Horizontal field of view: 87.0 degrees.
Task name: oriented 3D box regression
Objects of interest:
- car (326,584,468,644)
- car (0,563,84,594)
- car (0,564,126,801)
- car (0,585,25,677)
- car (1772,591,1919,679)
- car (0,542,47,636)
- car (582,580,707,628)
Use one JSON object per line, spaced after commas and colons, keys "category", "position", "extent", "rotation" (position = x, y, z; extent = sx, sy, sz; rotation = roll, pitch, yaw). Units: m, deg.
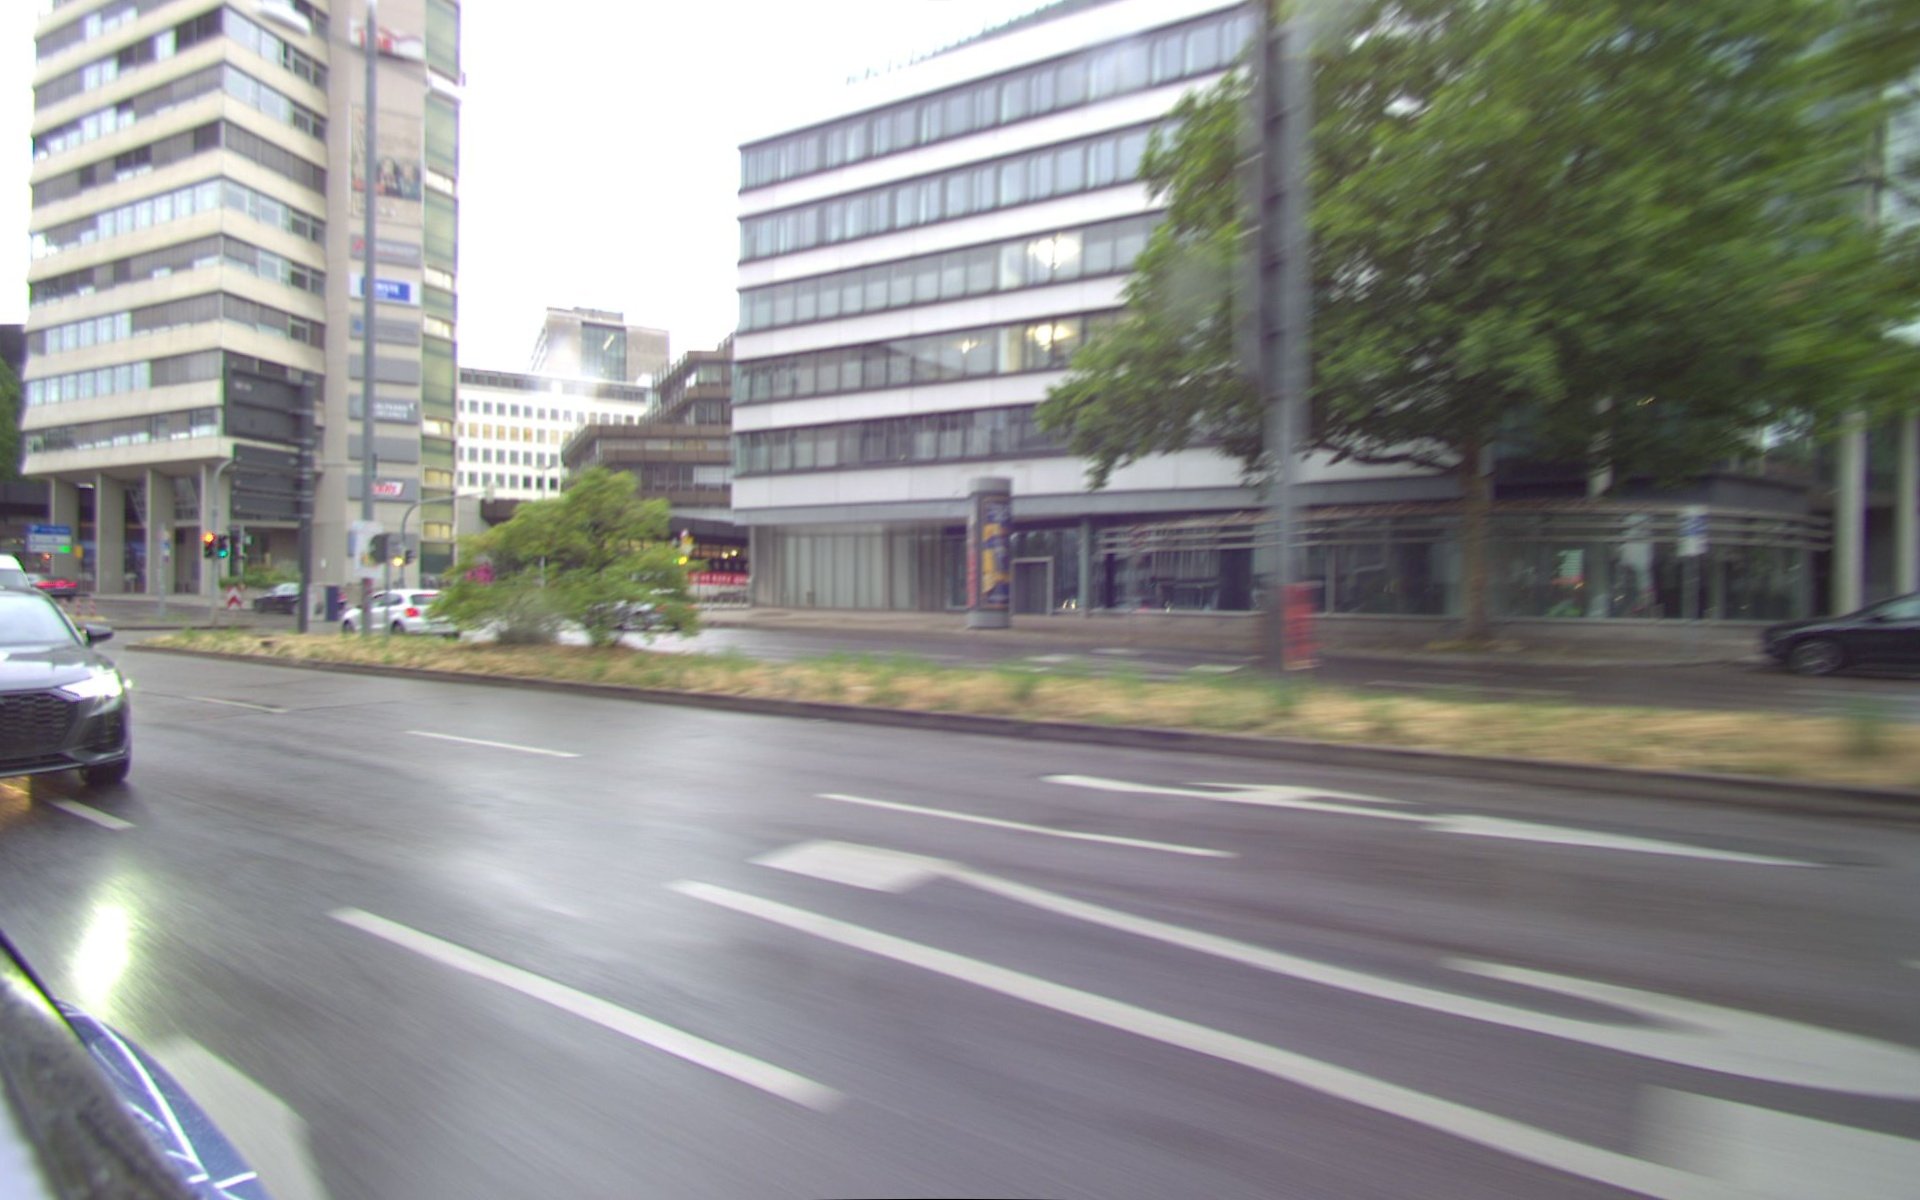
{"category": "car", "position": [-15.528, 0.340, 27.882], "extent": [3.958, 1.475, 1.738], "rotation": [2, 2, 31]}
{"category": "car", "position": [-50.400, -1.184, 54.693], "extent": [5.117, 1.597, 1.992], "rotation": [1, 1, 13]}
{"category": "car", "position": [-8.095, 0.493, 8.055], "extent": [4.390, 1.563, 1.777], "rotation": [2, 2, 44]}
{"category": "car", "position": [-17.816, 0.484, 17.271], "extent": [4.115, 1.490, 1.756], "rotation": [2, 2, 33]}
{"category": "car", "position": [18.024, 0.655, 18.917], "extent": [4.278, 1.540, 1.782], "rotation": [2, 2, 36]}
{"category": "car", "position": [-27.083, -0.353, 27.466], "extent": [5.707, 2.403, 2.234], "rotation": [2, 2, 35]}
{"category": "car", "position": [-11.351, 0.125, 36.336], "extent": [4.471, 1.630, 1.977], "rotation": [0, 1, 35]}
